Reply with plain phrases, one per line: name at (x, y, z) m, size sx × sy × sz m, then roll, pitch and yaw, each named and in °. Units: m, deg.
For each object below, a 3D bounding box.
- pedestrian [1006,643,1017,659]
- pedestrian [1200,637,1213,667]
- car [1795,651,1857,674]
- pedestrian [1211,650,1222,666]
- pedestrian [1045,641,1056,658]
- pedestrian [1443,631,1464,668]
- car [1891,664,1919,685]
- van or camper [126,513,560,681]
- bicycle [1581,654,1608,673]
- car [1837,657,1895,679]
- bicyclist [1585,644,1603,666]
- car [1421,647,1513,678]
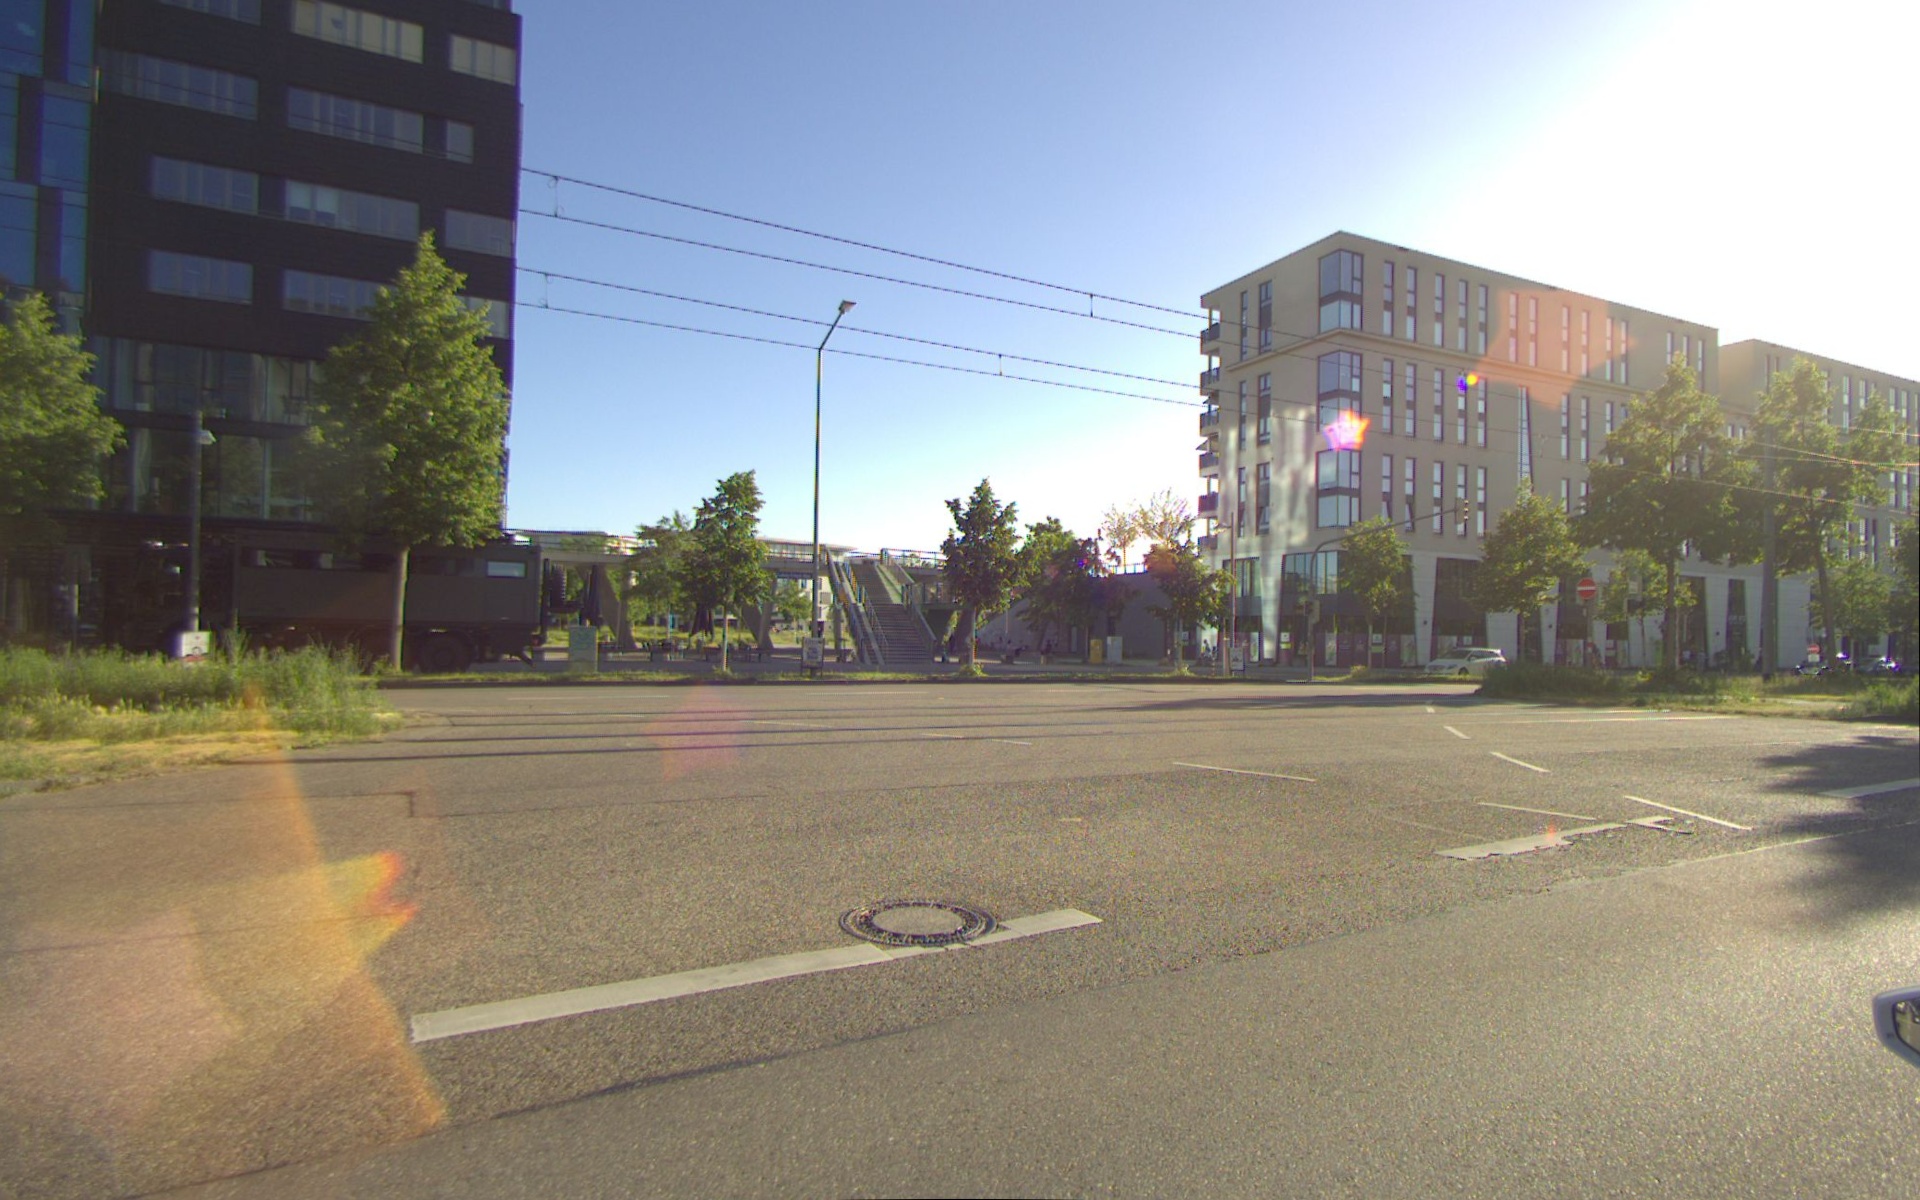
pedestrian at (3.741, 3.674, 72.970) m, size 0.592 × 1.140 × 0.438 m, roll 2°, pitch -1°, yaw -23°
pedestrian at (15.051, 3.142, 61.272) m, size 0.589 × 1.795 × 0.672 m, roll 1°, pitch -1°, yaw 29°
car at (53.462, 3.879, 62.005) m, size 3.663 × 1.360 × 1.575 m, roll 2°, pitch -2°, yaw -26°
pedestrian at (15.866, 3.591, 62.157) m, size 0.589 × 0.932 × 0.433 m, roll 1°, pitch -1°, yaw 29°
pedestrian at (6.253, 3.393, 69.373) m, size 0.592 × 1.140 × 0.438 m, roll 2°, pitch -1°, yaw -23°
pedestrian at (25.473, 2.550, 51.852) m, size 0.790 × 1.836 × 0.576 m, roll 2°, pitch -1°, yaw -29°
car at (64.696, 5.034, 67.766) m, size 3.663 × 1.360 × 1.575 m, roll 2°, pitch -2°, yaw -26°
van or camper at (-17.027, 0.098, 28.819) m, size 10.091 × 4.247 × 2.745 m, roll 2°, pitch -2°, yaw -25°
bicycle at (38.803, 3.889, 61.402) m, size 1.613 × 1.125 × 0.527 m, roll 2°, pitch -1°, yaw -21°
car at (58.442, 4.398, 64.785) m, size 3.663 × 1.360 × 1.575 m, roll 2°, pitch -2°, yaw -26°
bicyclist at (38.728, 3.381, 61.369) m, size 0.694 × 1.310 × 0.577 m, roll 2°, pitch -1°, yaw -21°
car at (24.285, 2.995, 48.097) m, size 4.413 × 1.360 × 1.575 m, roll 2°, pitch -2°, yaw -26°
